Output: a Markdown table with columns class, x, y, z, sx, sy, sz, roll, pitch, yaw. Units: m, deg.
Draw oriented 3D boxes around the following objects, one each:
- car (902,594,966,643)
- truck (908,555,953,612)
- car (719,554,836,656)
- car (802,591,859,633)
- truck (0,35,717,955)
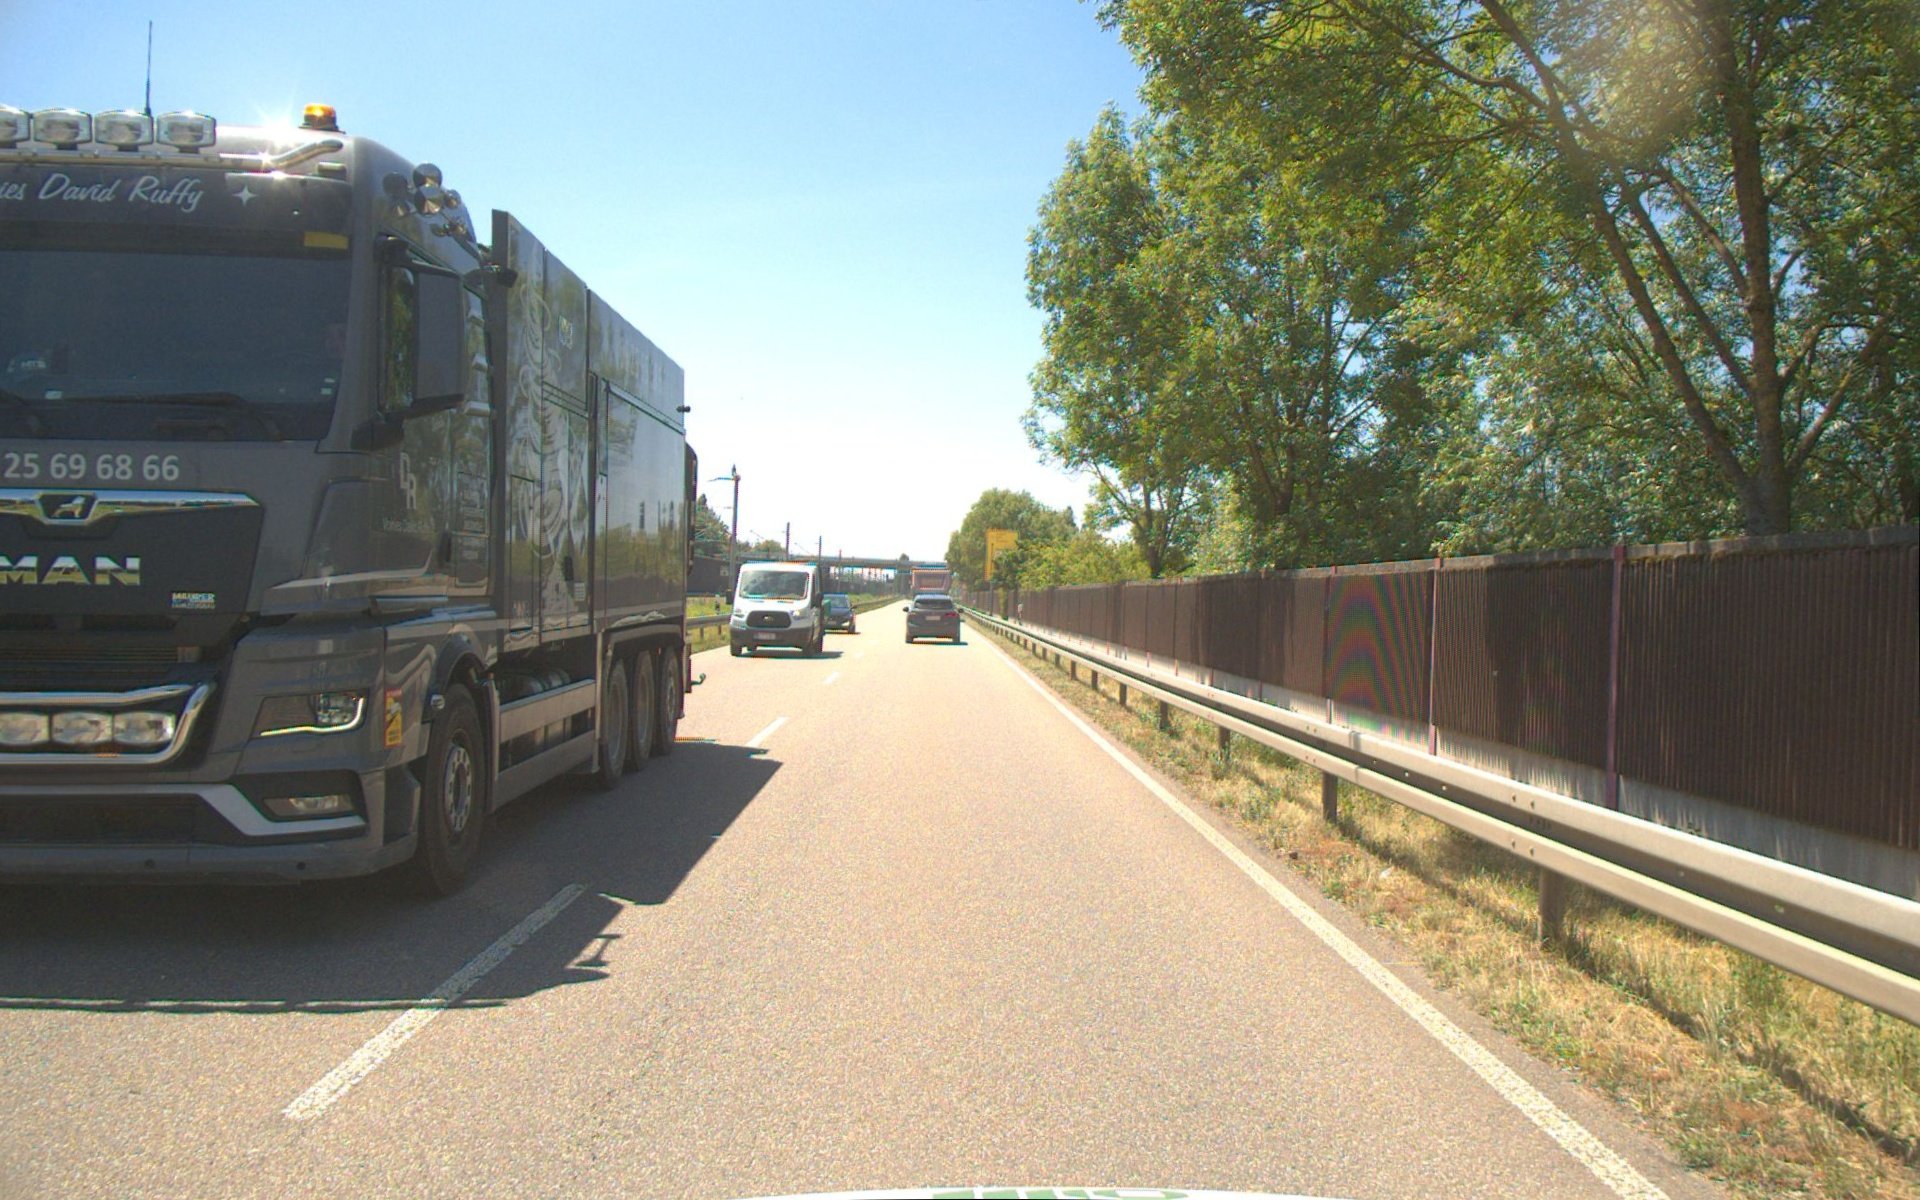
| class | x | y | z | sx | sy | sz | roll | pitch | yaw |
| --- | --- | --- | --- | --- | --- | --- | --- | --- | --- |
| car | -0.883 | 0.585 | 54.679 | 1.954 | 1.534 | 3.998 | 1 | 0 | -3 |
| truck | -1.900 | -1.040 | 107.802 | 2.714 | 3.485 | 10.817 | 1 | 0 | -1 |
| car | -4.488 | 0.104 | 41.726 | 2.215 | 2.327 | 6.235 | 1 | 0 | 0 |
| car | -5.048 | 0.454 | 64.996 | 1.935 | 1.534 | 4.162 | 1 | 0 | -1 |
| truck | -3.763 | -0.471 | 12.173 | 2.604 | 3.690 | 10.973 | 1 | 0 | -2 |
